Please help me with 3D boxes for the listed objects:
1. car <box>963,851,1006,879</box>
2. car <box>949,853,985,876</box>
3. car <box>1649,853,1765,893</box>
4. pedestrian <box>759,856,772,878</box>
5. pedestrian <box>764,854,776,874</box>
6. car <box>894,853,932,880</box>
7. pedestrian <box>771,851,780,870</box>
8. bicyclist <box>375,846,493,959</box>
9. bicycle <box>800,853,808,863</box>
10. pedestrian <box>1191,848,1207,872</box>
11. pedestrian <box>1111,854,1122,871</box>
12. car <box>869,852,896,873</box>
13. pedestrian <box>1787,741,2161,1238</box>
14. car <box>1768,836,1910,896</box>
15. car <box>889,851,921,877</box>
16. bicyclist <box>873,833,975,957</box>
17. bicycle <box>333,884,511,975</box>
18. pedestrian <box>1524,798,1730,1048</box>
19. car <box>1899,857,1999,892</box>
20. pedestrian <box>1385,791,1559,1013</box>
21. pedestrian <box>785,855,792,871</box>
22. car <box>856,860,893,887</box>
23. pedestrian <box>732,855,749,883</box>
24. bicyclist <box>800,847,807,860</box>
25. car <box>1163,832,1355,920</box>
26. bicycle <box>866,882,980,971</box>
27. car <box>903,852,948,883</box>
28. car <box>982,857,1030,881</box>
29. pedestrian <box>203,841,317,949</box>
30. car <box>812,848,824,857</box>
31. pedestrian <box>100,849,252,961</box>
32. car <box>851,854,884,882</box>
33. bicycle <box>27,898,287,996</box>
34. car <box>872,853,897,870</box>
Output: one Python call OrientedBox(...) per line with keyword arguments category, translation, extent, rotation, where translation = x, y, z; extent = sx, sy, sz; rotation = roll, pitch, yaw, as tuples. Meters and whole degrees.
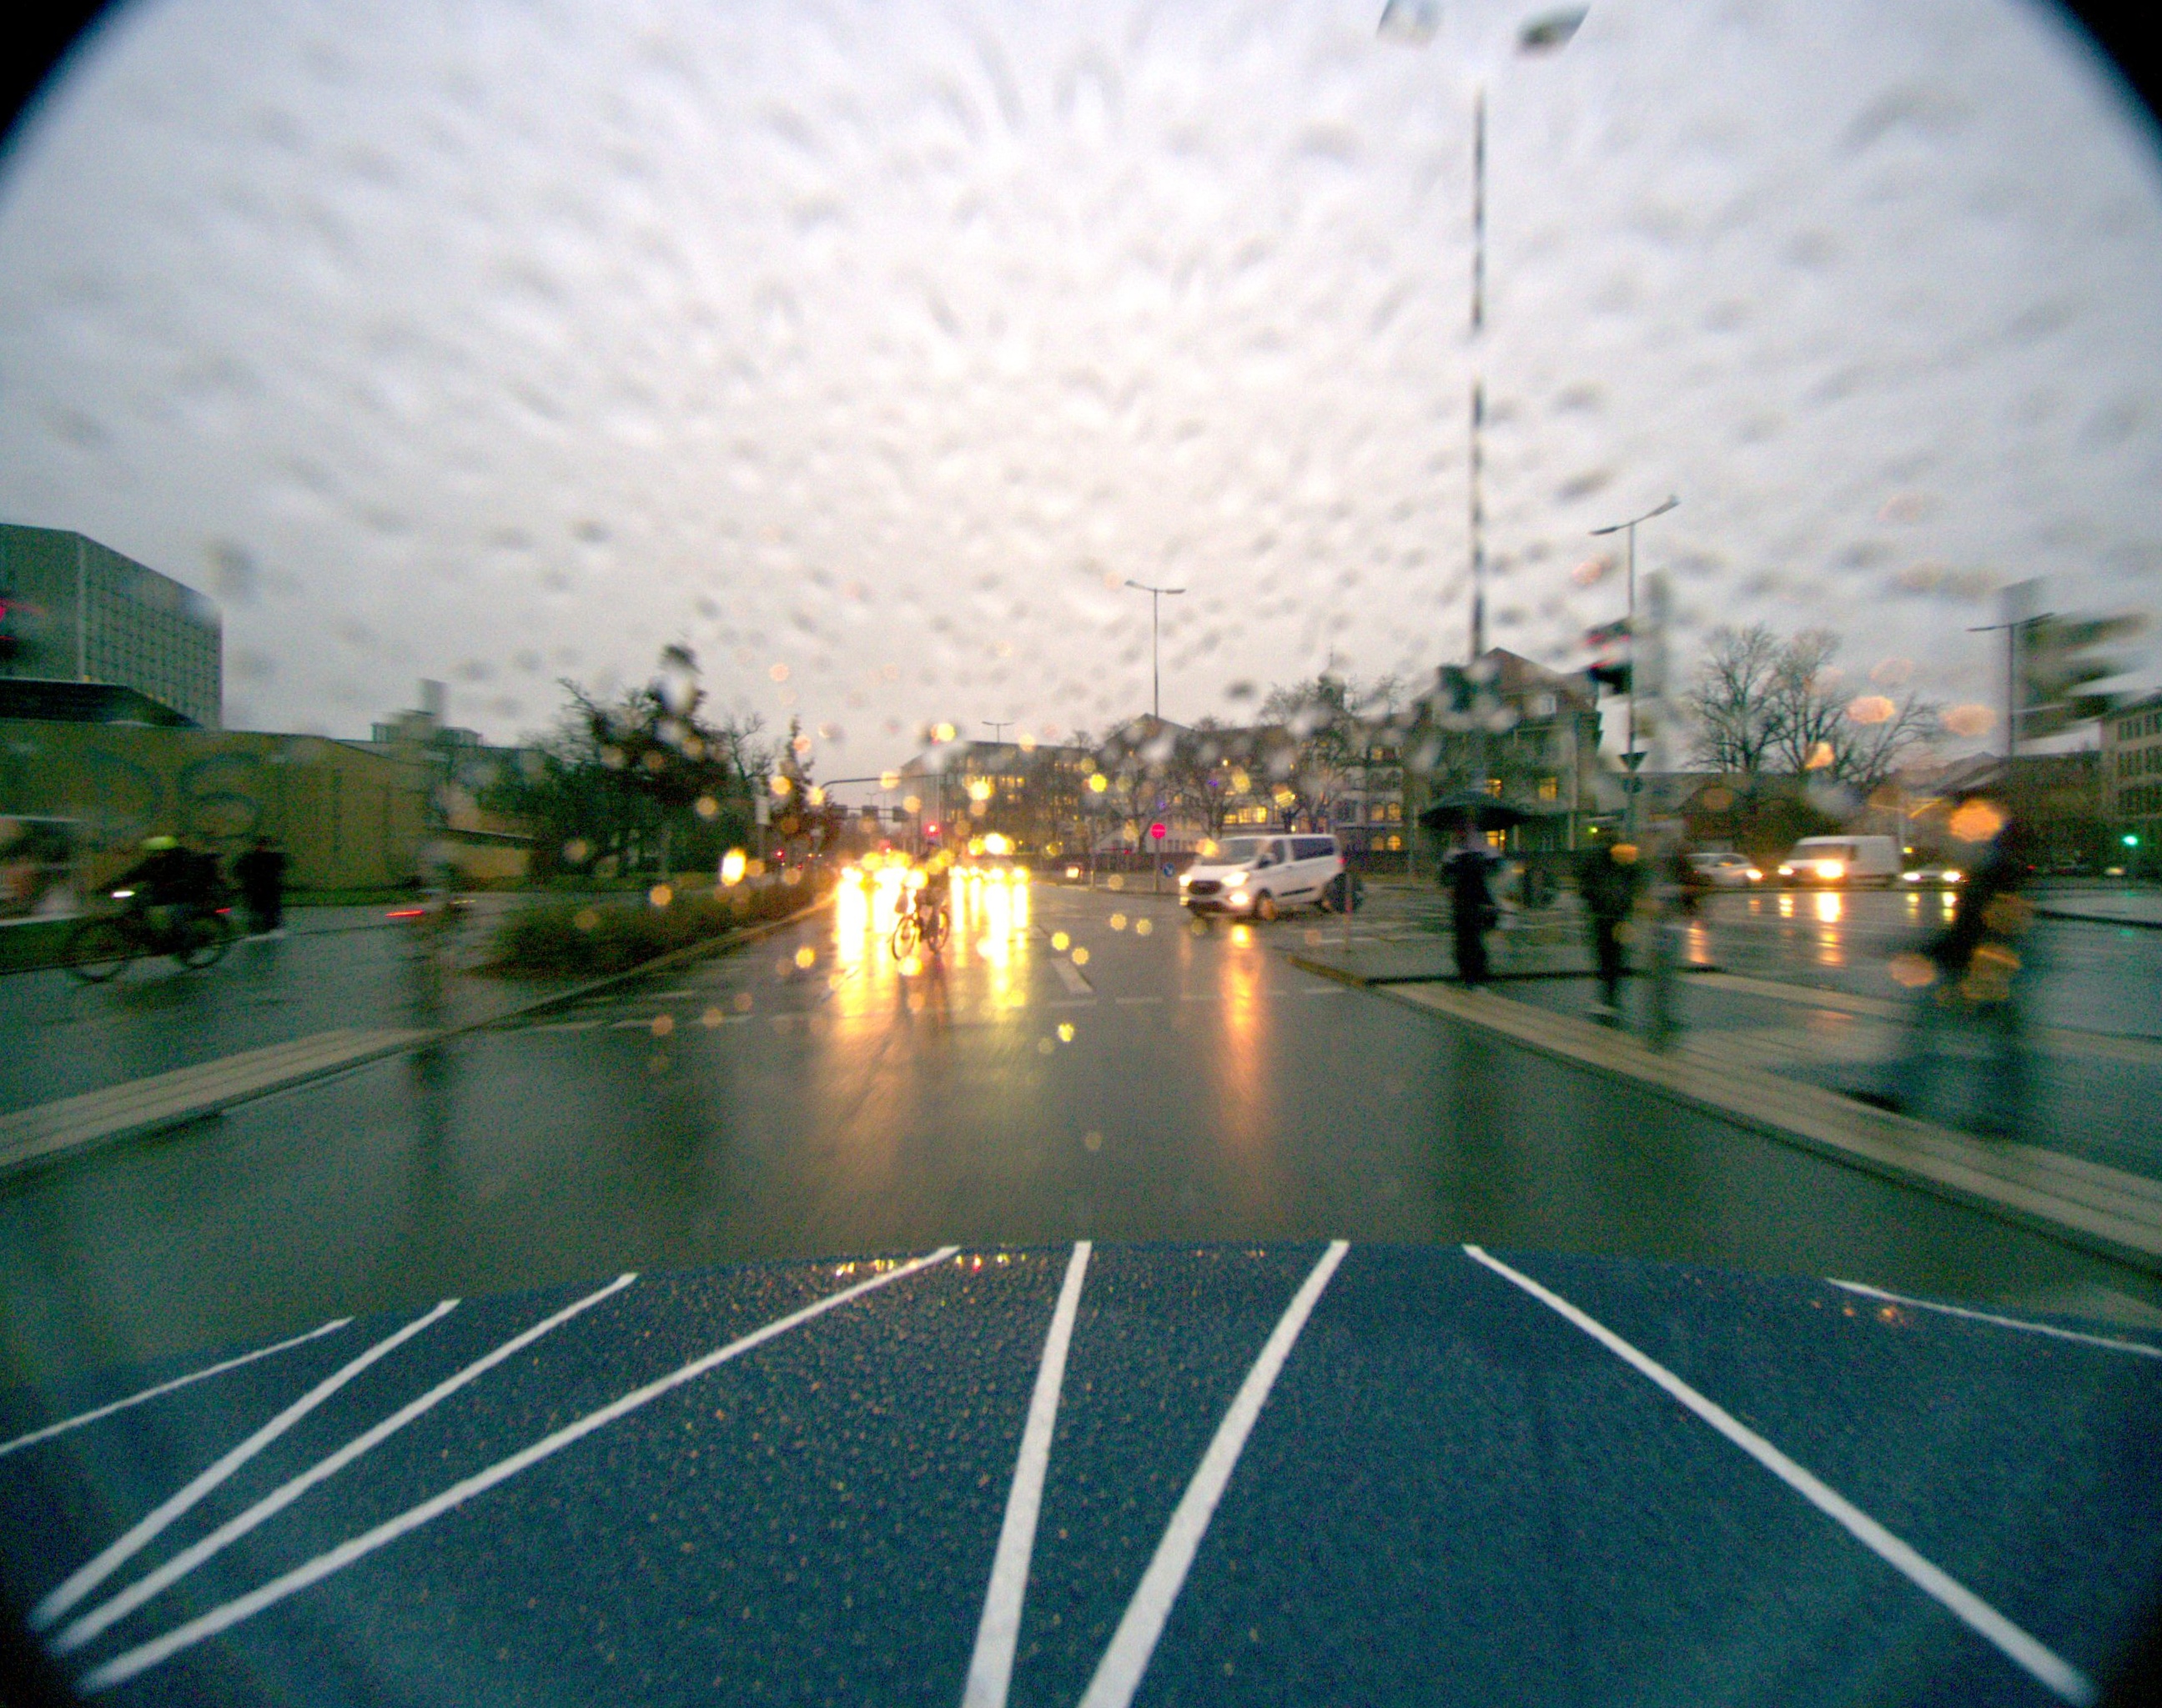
OrientedBox(category="car", translation=(-6.991, 0.748, 54.513), extent=(2.003, 1.739, 4.463), rotation=(7, -2, -19))
OrientedBox(category="car", translation=(-9.121, 0.816, 60.400), extent=(2.002, 1.739, 4.463), rotation=(0, 0, -19))
OrientedBox(category="car", translation=(25.068, 0.763, 30.432), extent=(4.322, 1.494, 1.753), rotation=(0, -2, -23))
OrientedBox(category="pedestrian", translation=(-26.078, 1.043, 62.806), extent=(0.934, 1.815, 0.832), rotation=(1, 1, -20))
OrientedBox(category="pedestrian", translation=(-28.797, 0.914, 70.345), extent=(0.934, 1.815, 0.832), rotation=(1, 1, -20))
OrientedBox(category="car", translation=(-11.507, 0.814, 51.860), extent=(2.002, 1.739, 4.463), rotation=(1, 0, -19))
OrientedBox(category="pedestrian", translation=(-30.929, 0.651, 76.918), extent=(0.767, 2.002, 0.909), rotation=(0, 1, -21))
OrientedBox(category="bicyclist", translation=(-9.790, 0.708, 11.545), extent=(0.806, 1.608, 1.085), rotation=(3, 0, -4))
OrientedBox(category="bicycle", translation=(-32.089, 0.443, 87.882), extent=(0.795, 1.010, 2.898), rotation=(0, 1, -19))
OrientedBox(category="pedestrian", translation=(9.144, 0.464, 58.909), extent=(0.809, 1.820, 0.946), rotation=(0, 1, -23))
OrientedBox(category="pedestrian", translation=(3.745, 0.877, 80.172), extent=(0.809, 1.820, 0.946), rotation=(0, 1, -23))
OrientedBox(category="car", translation=(-18.306, 0.757, 69.924), extent=(2.002, 1.912, 4.260), rotation=(0, 0, -19))
OrientedBox(category="pedestrian", translation=(4.364, 0.555, 3.636), extent=(0.848, 1.993, 1.109), rotation=(0, -2, -3))
OrientedBox(category="car", translation=(34.149, 0.558, 34.227), extent=(5.874, 2.502, 2.344), rotation=(0, -2, -22))
OrientedBox(category="car", translation=(-13.188, 0.747, 56.894), extent=(2.002, 1.892, 3.994), rotation=(0, 0, -18))
OrientedBox(category="bicyclist", translation=(-2.493, 0.619, 12.167), extent=(1.025, 1.872, 1.238), rotation=(-1, 0, 23))
OrientedBox(category="bicycle", translation=(-9.801, 1.072, 11.449), extent=(0.806, 1.135, 2.213), rotation=(3, 0, -4))
OrientedBox(category="pedestrian", translation=(4.539, 0.536, 6.347), extent=(1.037, 1.846, 1.068), rotation=(1, -2, -35))
OrientedBox(category="car", translation=(43.475, 1.000, 38.054), extent=(4.822, 1.634, 1.835), rotation=(0, 0, -22))
OrientedBox(category="pedestrian", translation=(3.964, 0.469, 7.744), extent=(1.217, 2.037, 1.033), rotation=(1, -2, -30))
OrientedBox(category="pedestrian", translation=(-35.936, 1.110, 93.335), extent=(0.767, 2.002, 0.771), rotation=(0, 1, -21))
OrientedBox(category="car", translation=(-12.255, 1.120, 44.873), extent=(1.776, 1.478, 4.463), rotation=(1, 0, -19))
OrientedBox(category="pedestrian", translation=(-21.741, 0.950, 48.517), extent=(0.934, 1.815, 0.832), rotation=(1, 1, -20))
OrientedBox(category="bicyclist", translation=(-32.089, -0.092, 87.861), extent=(0.768, 1.481, 0.992), rotation=(0, 1, -19))
OrientedBox(category="car", translation=(4.558, 0.565, 19.044), extent=(5.028, 1.909, 2.133), rotation=(2, -3, -41))
OrientedBox(category="bicycle", translation=(-2.479, 1.111, 12.183), extent=(0.793, 1.215, 1.907), rotation=(-1, 0, 24))
OrientedBox(category="car", translation=(-9.553, 0.789, 46.360), extent=(2.002, 1.739, 4.937), rotation=(1, 0, -19))
OrientedBox(category="car", translation=(-4.681, 0.907, 47.094), extent=(1.934, 1.368, 4.490), rotation=(1, 0, -19))
OrientedBox(category="pedestrian", translation=(-13.317, 0.664, 12.371), extent=(0.914, 1.677, 0.926), rotation=(2, -2, -24))
OrientedBox(category="car", translation=(-52.138, -0.280, 150.532), extent=(2.145, 1.805, 3.993), rotation=(1, 0, -20))
OrientedBox(category="pedestrian", translation=(-11.198, 0.603, 9.435), extent=(0.876, 1.309, 0.848), rotation=(1, 1, 5))
OrientedBox(category="car", translation=(-14.523, 0.895, 51.589), extent=(2.002, 1.827, 3.994), rotation=(0, 0, -18))
OrientedBox(category="bicycle", translation=(-11.261, 1.082, 9.404), extent=(0.563, 0.941, 2.096), rotation=(1, 0, 4))
OrientedBox(category="car", translation=(-19.834, 0.740, 76.457), extent=(2.002, 1.558, 4.753), rotation=(2, 0, -19))
